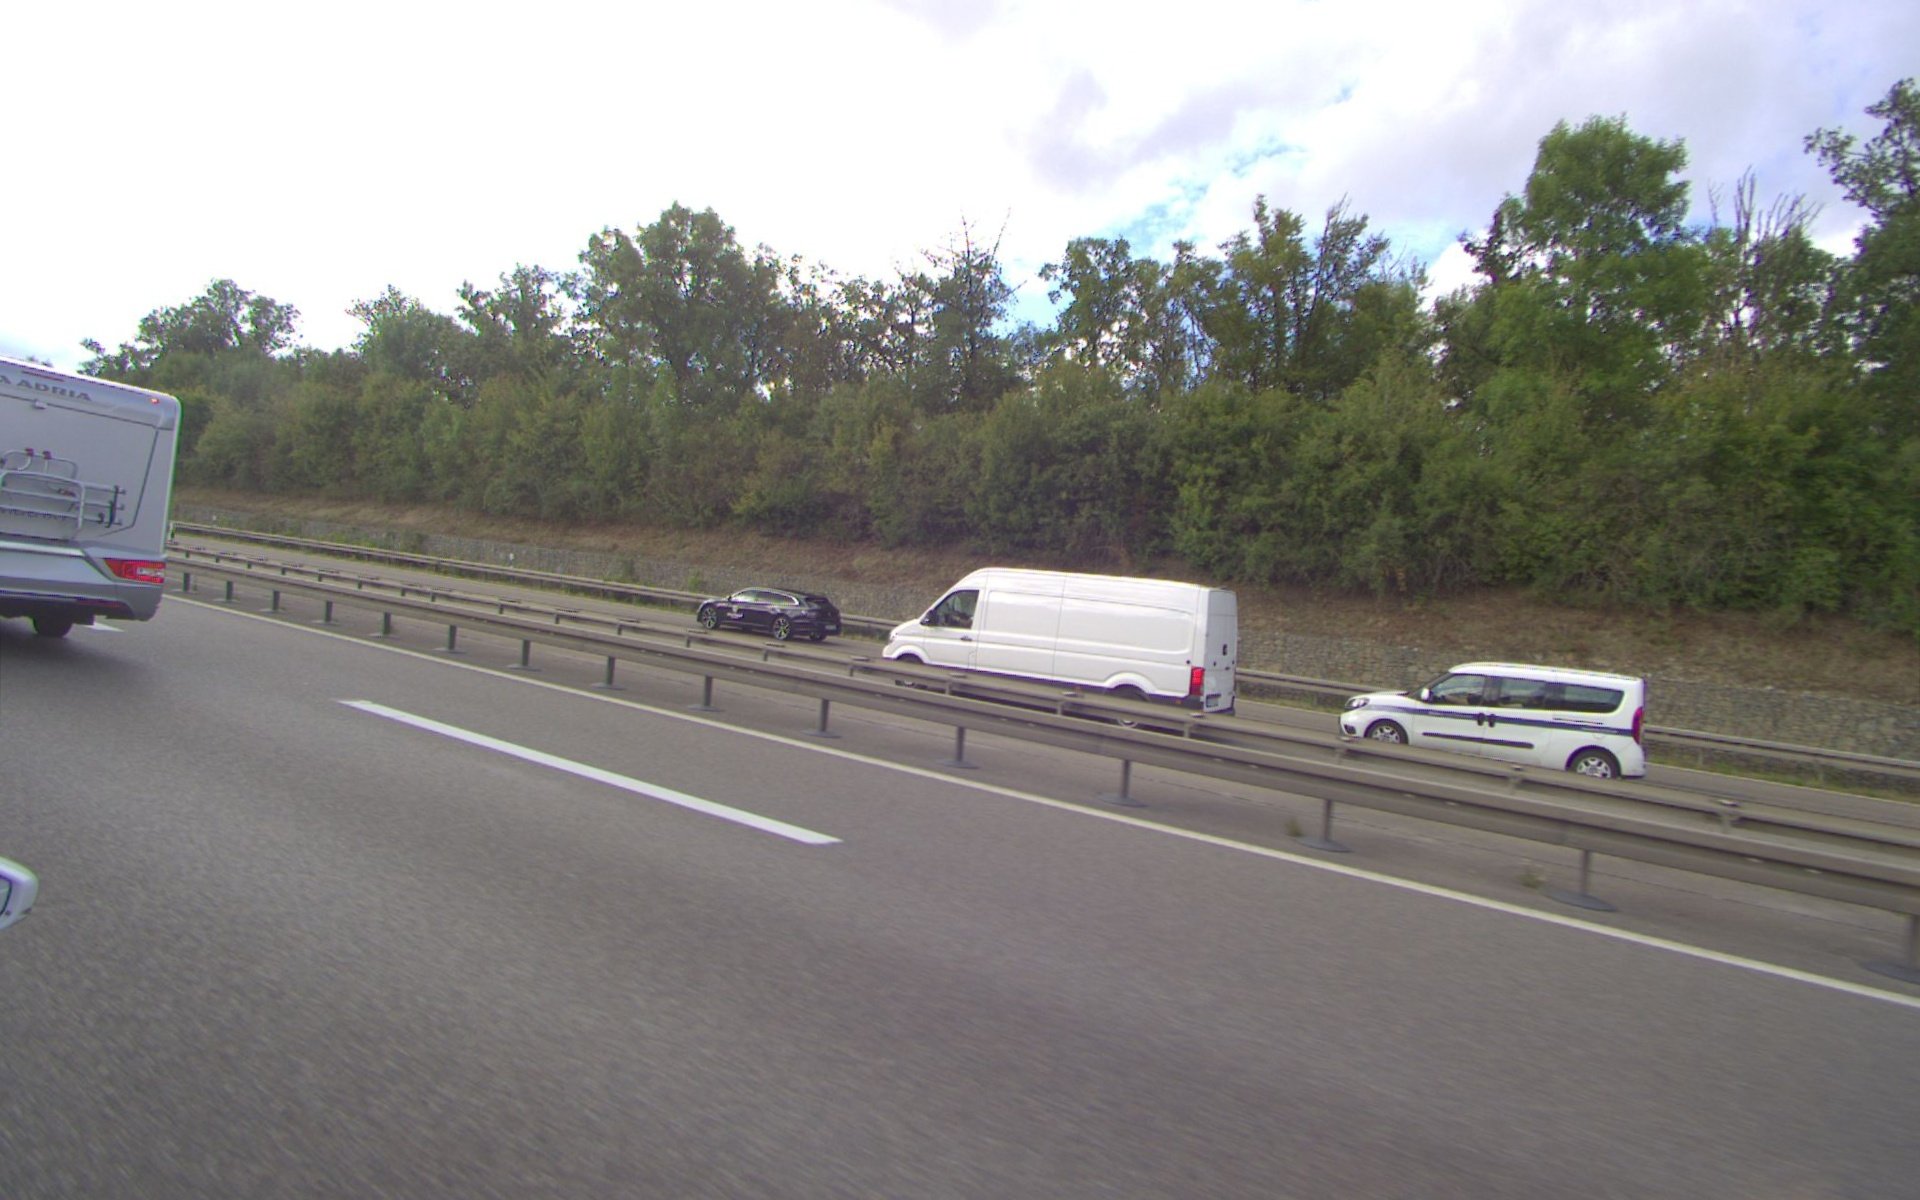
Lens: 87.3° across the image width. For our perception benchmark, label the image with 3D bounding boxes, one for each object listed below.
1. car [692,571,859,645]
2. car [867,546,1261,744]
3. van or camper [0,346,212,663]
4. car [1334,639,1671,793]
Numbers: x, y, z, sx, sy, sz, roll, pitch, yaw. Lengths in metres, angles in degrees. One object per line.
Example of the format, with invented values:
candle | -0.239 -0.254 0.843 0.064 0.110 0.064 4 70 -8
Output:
car | -5.476 0.214 29.639 4.684 1.623 1.844 7 2 31
car | 1.719 0.682 18.257 6.630 2.586 2.072 7 1 31
van or camper | -11.622 -1.215 11.187 7.534 2.754 2.473 7 -1 32
car | 9.115 1.880 17.206 4.685 1.773 1.846 7 -1 32
